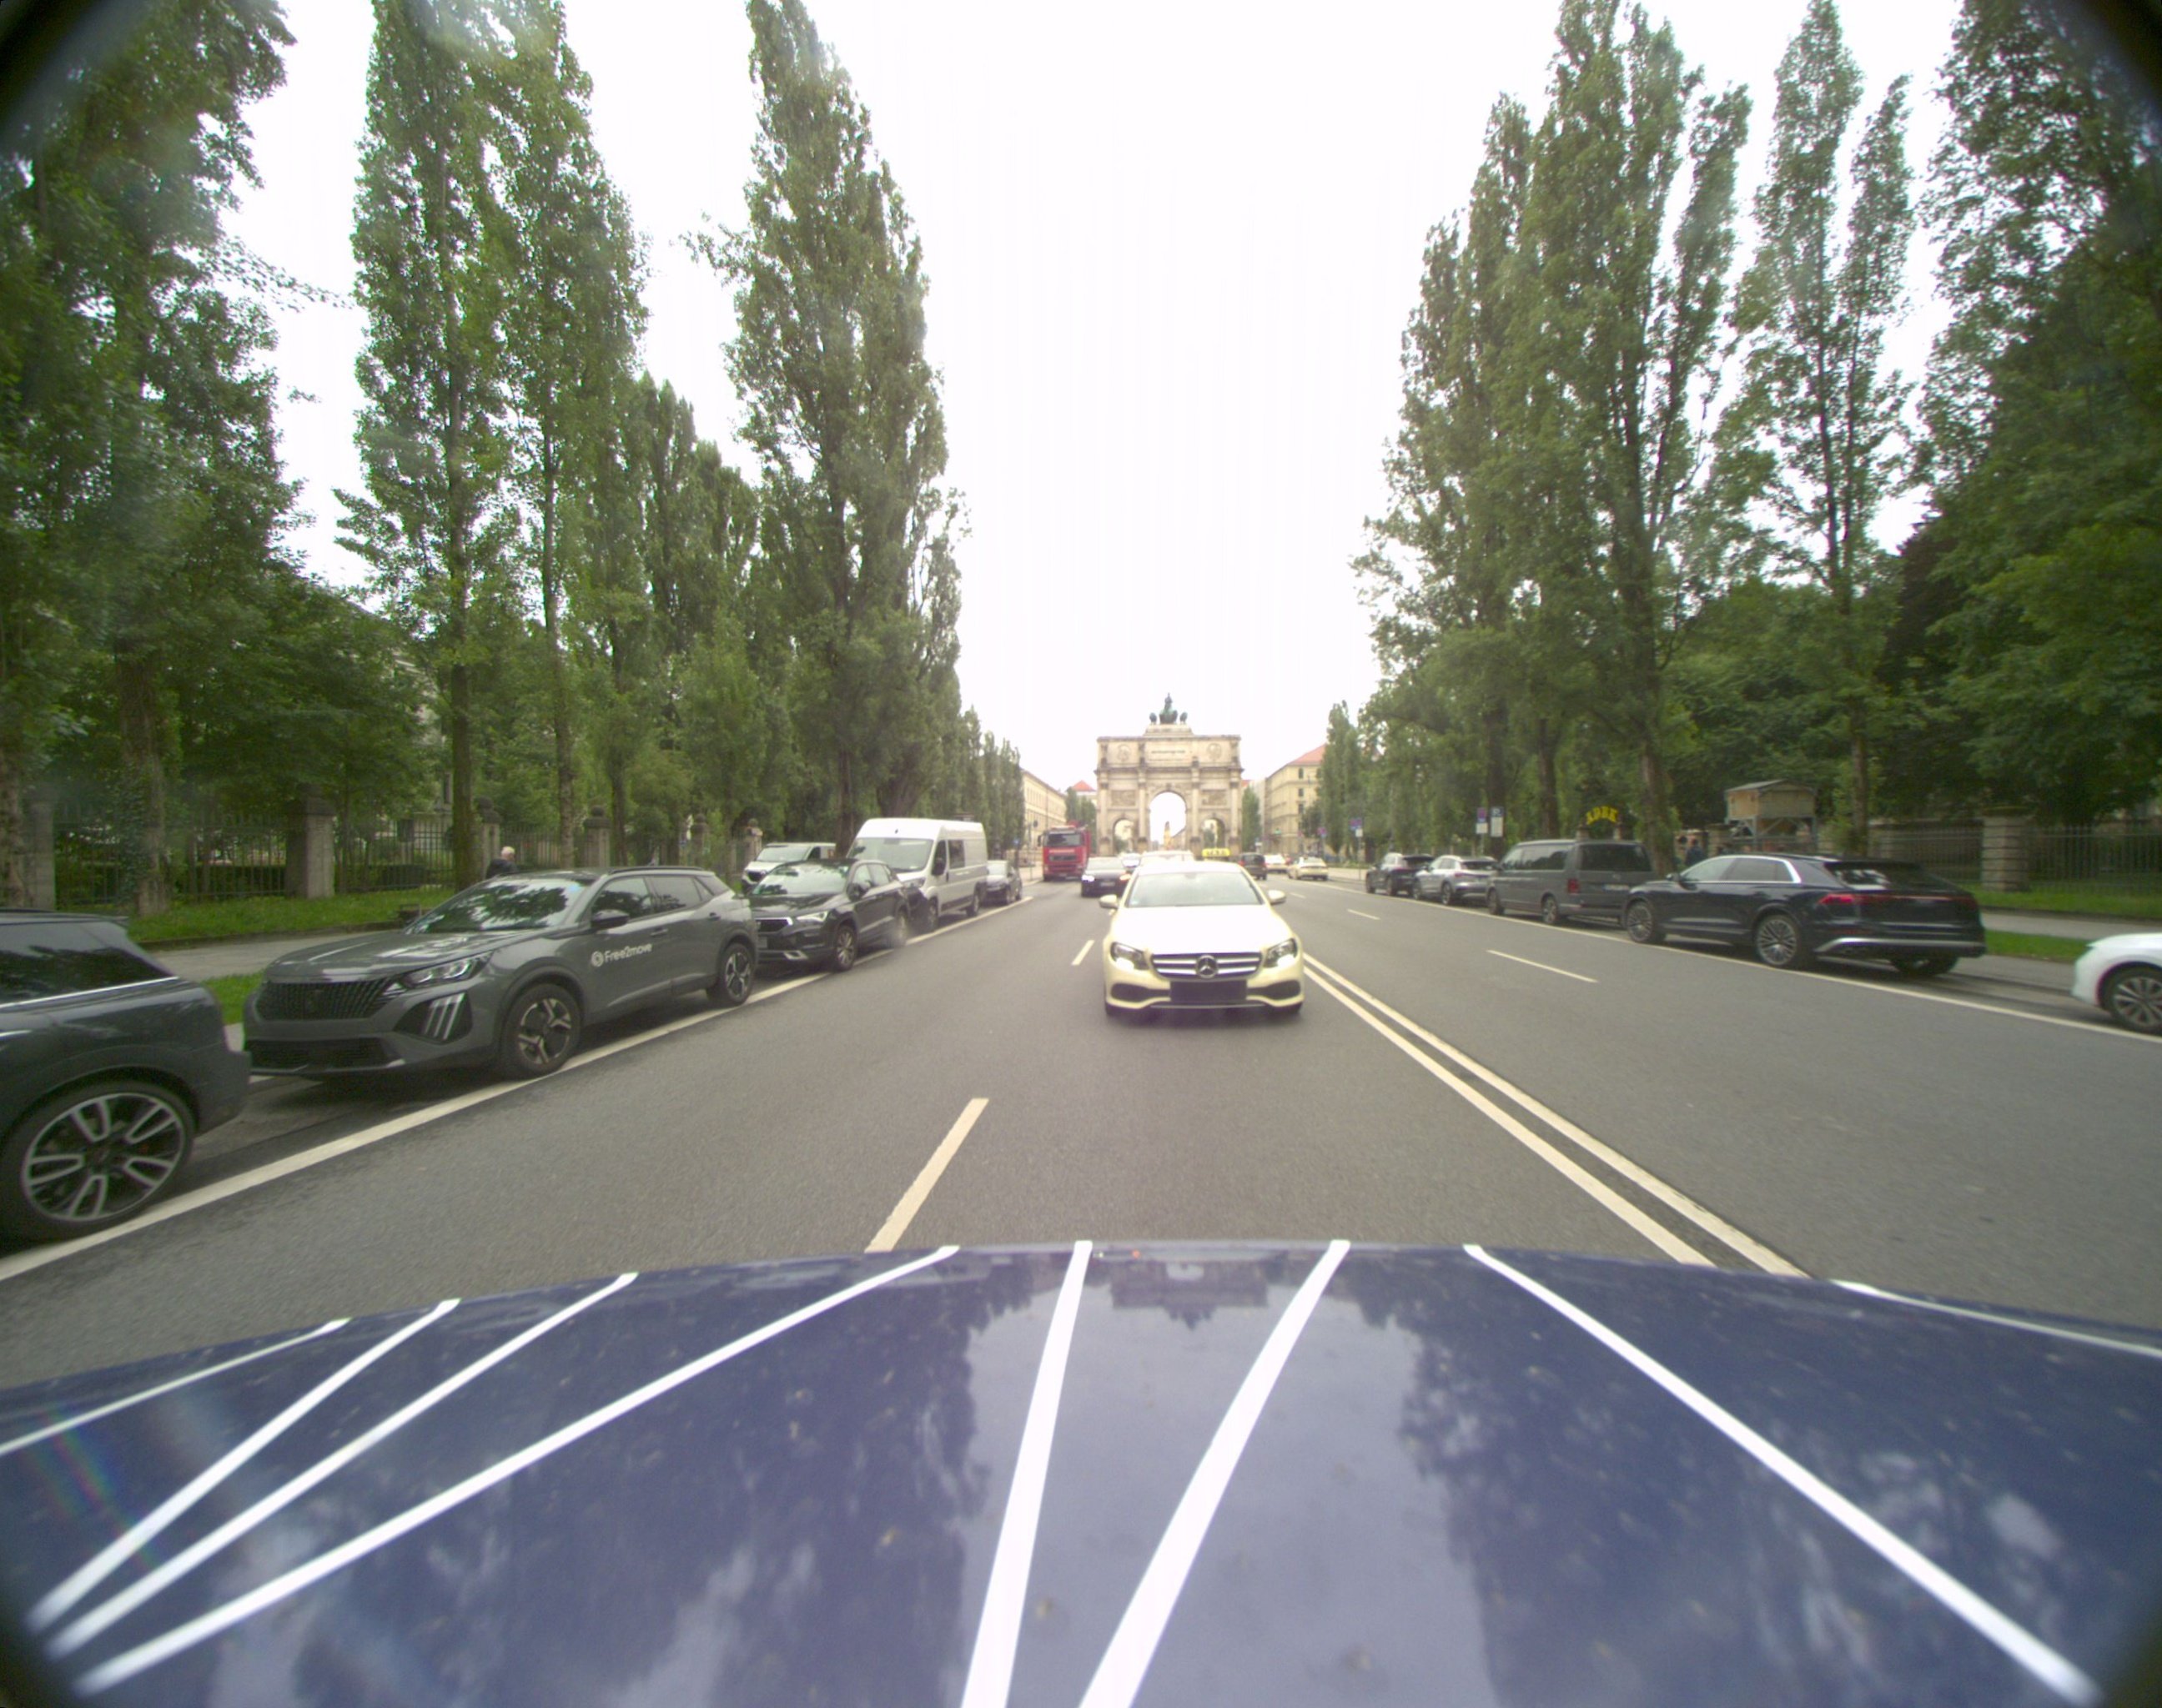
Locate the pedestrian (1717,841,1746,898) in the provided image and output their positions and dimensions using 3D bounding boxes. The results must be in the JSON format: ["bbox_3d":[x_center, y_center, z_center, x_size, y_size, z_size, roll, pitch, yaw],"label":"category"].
[{"bbox_3d":[22.331,0.530,26.106,0.550,1.948,0.532,-1,1,5],"label":"pedestrian"}]

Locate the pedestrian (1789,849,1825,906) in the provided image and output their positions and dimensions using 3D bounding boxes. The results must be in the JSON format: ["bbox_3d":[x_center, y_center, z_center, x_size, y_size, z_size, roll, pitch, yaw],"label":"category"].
[{"bbox_3d":[21.271,0.683,22.256,0.550,1.659,0.532,-1,1,5],"label":"pedestrian"}]

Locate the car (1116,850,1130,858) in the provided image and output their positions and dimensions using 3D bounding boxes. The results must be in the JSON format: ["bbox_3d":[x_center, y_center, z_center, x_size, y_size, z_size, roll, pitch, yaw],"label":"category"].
[{"bbox_3d":[9.097,-0.046,163.200,1.784,1.739,4.327,0,0,22],"label":"car"}]

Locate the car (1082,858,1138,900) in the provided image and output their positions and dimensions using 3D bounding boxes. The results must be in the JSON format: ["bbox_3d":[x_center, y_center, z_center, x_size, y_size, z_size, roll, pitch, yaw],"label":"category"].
[{"bbox_3d":[1.181,0.879,28.800,1.922,1.320,4.412,-2,0,4],"label":"car"}]

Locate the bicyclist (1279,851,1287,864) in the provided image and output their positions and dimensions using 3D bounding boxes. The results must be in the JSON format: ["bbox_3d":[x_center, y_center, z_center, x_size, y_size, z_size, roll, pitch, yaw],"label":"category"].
[{"bbox_3d":[22.837,0.398,85.927,0.695,1.489,0.862,0,1,9],"label":"bicyclist"}]

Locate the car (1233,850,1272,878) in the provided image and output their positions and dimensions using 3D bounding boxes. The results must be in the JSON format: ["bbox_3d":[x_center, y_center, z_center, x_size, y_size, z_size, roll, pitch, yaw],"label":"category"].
[{"bbox_3d":[10.595,0.596,47.248,1.788,1.646,4.114,1,1,5],"label":"car"}]

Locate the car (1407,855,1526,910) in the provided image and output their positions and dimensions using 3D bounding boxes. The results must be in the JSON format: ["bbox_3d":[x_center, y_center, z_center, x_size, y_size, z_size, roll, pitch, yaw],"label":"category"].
[{"bbox_3d":[12.499,0.859,25.019,1.894,1.575,4.656,1,0,5],"label":"car"}]

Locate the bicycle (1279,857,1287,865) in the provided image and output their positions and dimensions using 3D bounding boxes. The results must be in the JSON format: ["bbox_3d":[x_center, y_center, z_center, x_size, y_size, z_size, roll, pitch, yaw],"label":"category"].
[{"bbox_3d":[22.860,0.803,85.998,0.709,0.933,1.736,-1,0,8],"label":"bicycle"}]

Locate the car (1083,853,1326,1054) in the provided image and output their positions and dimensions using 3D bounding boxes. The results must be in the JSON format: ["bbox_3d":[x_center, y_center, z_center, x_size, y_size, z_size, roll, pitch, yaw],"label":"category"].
[{"bbox_3d":[1.279,0.832,8.565,1.918,1.566,4.691,-2,0,7],"label":"car"}]

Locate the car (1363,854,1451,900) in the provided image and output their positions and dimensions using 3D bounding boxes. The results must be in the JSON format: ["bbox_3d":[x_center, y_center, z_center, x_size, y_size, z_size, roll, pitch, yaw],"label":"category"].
[{"bbox_3d":[12.602,0.838,29.700,1.786,1.586,4.615,2,0,5],"label":"car"}]

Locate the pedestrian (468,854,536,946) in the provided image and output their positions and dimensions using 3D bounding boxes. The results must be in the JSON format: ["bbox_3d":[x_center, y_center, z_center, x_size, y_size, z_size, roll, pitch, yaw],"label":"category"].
[{"bbox_3d":[-10.618,0.824,13.950,0.716,1.650,0.633,-1,1,5],"label":"pedestrian"}]

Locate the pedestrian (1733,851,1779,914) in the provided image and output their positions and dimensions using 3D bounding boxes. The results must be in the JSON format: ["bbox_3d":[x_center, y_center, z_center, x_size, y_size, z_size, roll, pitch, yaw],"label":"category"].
[{"bbox_3d":[18.621,0.777,20.969,0.584,1.710,0.787,-1,1,4],"label":"pedestrian"}]

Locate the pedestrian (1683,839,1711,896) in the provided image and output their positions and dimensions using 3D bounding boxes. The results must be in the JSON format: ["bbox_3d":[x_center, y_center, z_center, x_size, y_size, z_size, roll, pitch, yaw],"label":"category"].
[{"bbox_3d":[21.177,0.459,26.125,0.550,1.948,0.532,-1,1,5],"label":"pedestrian"}]

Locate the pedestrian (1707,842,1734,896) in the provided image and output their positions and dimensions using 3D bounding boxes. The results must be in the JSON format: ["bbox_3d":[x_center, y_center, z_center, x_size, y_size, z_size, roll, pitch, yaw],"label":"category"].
[{"bbox_3d":[21.788,0.492,25.912,0.434,1.824,0.612,-1,1,5],"label":"pedestrian"}]

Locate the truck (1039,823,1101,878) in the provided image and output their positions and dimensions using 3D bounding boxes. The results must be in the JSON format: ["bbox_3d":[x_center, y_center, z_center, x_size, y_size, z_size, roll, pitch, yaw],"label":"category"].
[{"bbox_3d":[-0.469,-0.211,48.280,2.719,3.092,10.430,0,0,6],"label":"truck"}]

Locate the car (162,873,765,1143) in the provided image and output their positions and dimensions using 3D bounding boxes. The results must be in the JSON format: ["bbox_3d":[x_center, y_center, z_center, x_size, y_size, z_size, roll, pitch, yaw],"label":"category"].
[{"bbox_3d":[-4.635,0.999,6.671,1.655,1.495,4.115,-2,0,5],"label":"car"}]

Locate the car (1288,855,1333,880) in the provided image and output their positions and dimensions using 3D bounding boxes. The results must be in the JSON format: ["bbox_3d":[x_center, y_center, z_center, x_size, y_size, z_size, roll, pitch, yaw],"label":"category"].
[{"bbox_3d":[14.584,0.822,48.510,1.934,1.488,4.793,0,0,6],"label":"car"}]

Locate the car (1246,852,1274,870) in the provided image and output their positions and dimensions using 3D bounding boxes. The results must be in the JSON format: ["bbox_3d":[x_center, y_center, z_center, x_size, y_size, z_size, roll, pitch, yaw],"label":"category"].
[{"bbox_3d":[16.480,0.625,70.310,1.822,1.550,4.860,2,1,5],"label":"car"}]

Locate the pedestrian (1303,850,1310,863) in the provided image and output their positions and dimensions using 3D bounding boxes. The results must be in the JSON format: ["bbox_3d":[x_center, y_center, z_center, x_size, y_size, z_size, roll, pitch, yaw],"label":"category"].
[{"bbox_3d":[28.083,0.284,94.515,0.845,1.668,0.968,0,1,18],"label":"pedestrian"}]

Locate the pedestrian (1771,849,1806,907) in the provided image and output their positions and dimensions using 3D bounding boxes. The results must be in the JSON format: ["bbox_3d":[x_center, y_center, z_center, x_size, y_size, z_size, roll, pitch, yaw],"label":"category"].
[{"bbox_3d":[20.713,0.692,22.256,0.550,1.691,0.532,-1,1,5],"label":"pedestrian"}]

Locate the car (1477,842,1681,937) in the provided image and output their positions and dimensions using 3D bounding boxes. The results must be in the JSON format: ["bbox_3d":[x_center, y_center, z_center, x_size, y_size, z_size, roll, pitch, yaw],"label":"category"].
[{"bbox_3d":[11.727,0.731,18.410,1.998,1.945,4.939,1,0,5],"label":"car"}]

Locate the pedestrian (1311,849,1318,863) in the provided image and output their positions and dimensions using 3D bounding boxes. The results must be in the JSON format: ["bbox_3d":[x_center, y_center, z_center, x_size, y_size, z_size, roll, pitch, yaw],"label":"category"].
[{"bbox_3d":[28.874,0.271,94.081,0.845,1.668,0.968,0,1,18],"label":"pedestrian"}]

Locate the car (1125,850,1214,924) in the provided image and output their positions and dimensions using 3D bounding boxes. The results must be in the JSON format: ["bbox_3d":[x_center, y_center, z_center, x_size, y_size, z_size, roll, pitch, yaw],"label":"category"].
[{"bbox_3d":[2.227,0.749,19.570,1.952,1.615,4.413,-2,0,6],"label":"car"}]

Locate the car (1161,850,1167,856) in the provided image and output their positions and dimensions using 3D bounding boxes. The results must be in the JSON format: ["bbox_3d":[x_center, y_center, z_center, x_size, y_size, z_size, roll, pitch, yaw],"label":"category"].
[{"bbox_3d":[27.784,-0.455,254.052,1.998,2.002,4.396,0,0,5],"label":"car"}]

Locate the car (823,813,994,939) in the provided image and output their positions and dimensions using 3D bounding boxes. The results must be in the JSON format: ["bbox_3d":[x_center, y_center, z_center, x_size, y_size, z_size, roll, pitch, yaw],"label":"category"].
[{"bbox_3d":[-3.787,0.432,18.206,2.079,2.464,6.286,-1,0,5],"label":"car"}]

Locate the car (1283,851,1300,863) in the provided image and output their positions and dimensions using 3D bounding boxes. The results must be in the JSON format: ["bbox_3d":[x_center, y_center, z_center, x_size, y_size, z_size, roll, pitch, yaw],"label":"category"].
[{"bbox_3d":[35.013,0.481,126.298,2.003,1.844,4.992,1,1,7],"label":"car"}]

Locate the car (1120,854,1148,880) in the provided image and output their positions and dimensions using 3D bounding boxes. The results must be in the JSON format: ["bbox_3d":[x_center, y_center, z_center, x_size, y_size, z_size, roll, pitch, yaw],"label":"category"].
[{"bbox_3d":[3.968,0.923,56.662,1.889,1.846,4.314,-1,0,6],"label":"car"}]

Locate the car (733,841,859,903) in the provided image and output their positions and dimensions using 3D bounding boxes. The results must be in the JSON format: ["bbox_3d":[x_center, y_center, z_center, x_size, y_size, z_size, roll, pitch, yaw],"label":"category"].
[{"bbox_3d":[-9.729,0.548,26.482,1.997,1.935,5.085,0,1,6],"label":"car"}]

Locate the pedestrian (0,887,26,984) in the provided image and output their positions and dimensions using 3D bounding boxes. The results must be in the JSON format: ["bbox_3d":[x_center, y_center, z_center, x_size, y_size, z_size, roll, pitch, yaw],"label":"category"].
[{"bbox_3d":[-14.364,1.046,9.710,0.881,1.237,0.672,1,1,5],"label":"pedestrian"}]

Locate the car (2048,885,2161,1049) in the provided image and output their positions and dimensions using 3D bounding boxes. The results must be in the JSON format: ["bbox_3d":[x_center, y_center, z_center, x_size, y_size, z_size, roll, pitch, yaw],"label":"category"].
[{"bbox_3d":[10.355,1.059,5.423,1.680,1.414,4.238,1,1,5],"label":"car"}]

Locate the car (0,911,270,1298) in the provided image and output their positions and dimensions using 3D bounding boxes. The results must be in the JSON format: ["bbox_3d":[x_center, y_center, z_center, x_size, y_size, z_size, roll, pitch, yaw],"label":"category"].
[{"bbox_3d":[-5.178,1.065,1.876,1.636,1.437,4.150,-3,0,5],"label":"car"}]

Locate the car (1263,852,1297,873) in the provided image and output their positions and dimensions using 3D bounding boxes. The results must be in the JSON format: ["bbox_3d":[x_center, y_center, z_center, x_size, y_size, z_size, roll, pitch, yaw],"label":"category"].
[{"bbox_3d":[16.409,0.640,63.014,1.941,1.615,4.966,0,1,5],"label":"car"}]

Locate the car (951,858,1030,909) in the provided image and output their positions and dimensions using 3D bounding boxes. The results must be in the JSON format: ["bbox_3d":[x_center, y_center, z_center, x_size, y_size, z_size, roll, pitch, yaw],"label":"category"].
[{"bbox_3d":[-2.918,0.914,25.259,1.758,1.441,4.001,-3,0,5],"label":"car"}]

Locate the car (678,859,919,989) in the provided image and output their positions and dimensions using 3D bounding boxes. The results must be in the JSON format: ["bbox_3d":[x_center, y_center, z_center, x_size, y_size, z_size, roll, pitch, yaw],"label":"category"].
[{"bbox_3d":[-4.072,0.914,11.829,1.825,1.581,4.224,-1,0,5],"label":"car"}]

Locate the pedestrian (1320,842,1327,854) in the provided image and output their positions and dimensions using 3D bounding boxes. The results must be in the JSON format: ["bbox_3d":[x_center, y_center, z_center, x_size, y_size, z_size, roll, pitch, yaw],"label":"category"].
[{"bbox_3d":[39.806,-0.930,124.658,0.796,2.002,0.754,-1,1,-29],"label":"pedestrian"}]

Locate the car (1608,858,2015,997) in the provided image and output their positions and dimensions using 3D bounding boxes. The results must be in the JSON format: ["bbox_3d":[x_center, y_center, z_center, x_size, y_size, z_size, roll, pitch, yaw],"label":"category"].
[{"bbox_3d":[10.795,0.921,11.958,1.819,1.599,5.054,2,1,5],"label":"car"}]

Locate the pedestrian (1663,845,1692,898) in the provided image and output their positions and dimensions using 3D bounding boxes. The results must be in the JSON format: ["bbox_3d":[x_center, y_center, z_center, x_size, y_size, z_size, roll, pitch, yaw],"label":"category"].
[{"bbox_3d":[19.830,0.572,25.251,0.550,1.737,0.532,-1,1,5],"label":"pedestrian"}]
